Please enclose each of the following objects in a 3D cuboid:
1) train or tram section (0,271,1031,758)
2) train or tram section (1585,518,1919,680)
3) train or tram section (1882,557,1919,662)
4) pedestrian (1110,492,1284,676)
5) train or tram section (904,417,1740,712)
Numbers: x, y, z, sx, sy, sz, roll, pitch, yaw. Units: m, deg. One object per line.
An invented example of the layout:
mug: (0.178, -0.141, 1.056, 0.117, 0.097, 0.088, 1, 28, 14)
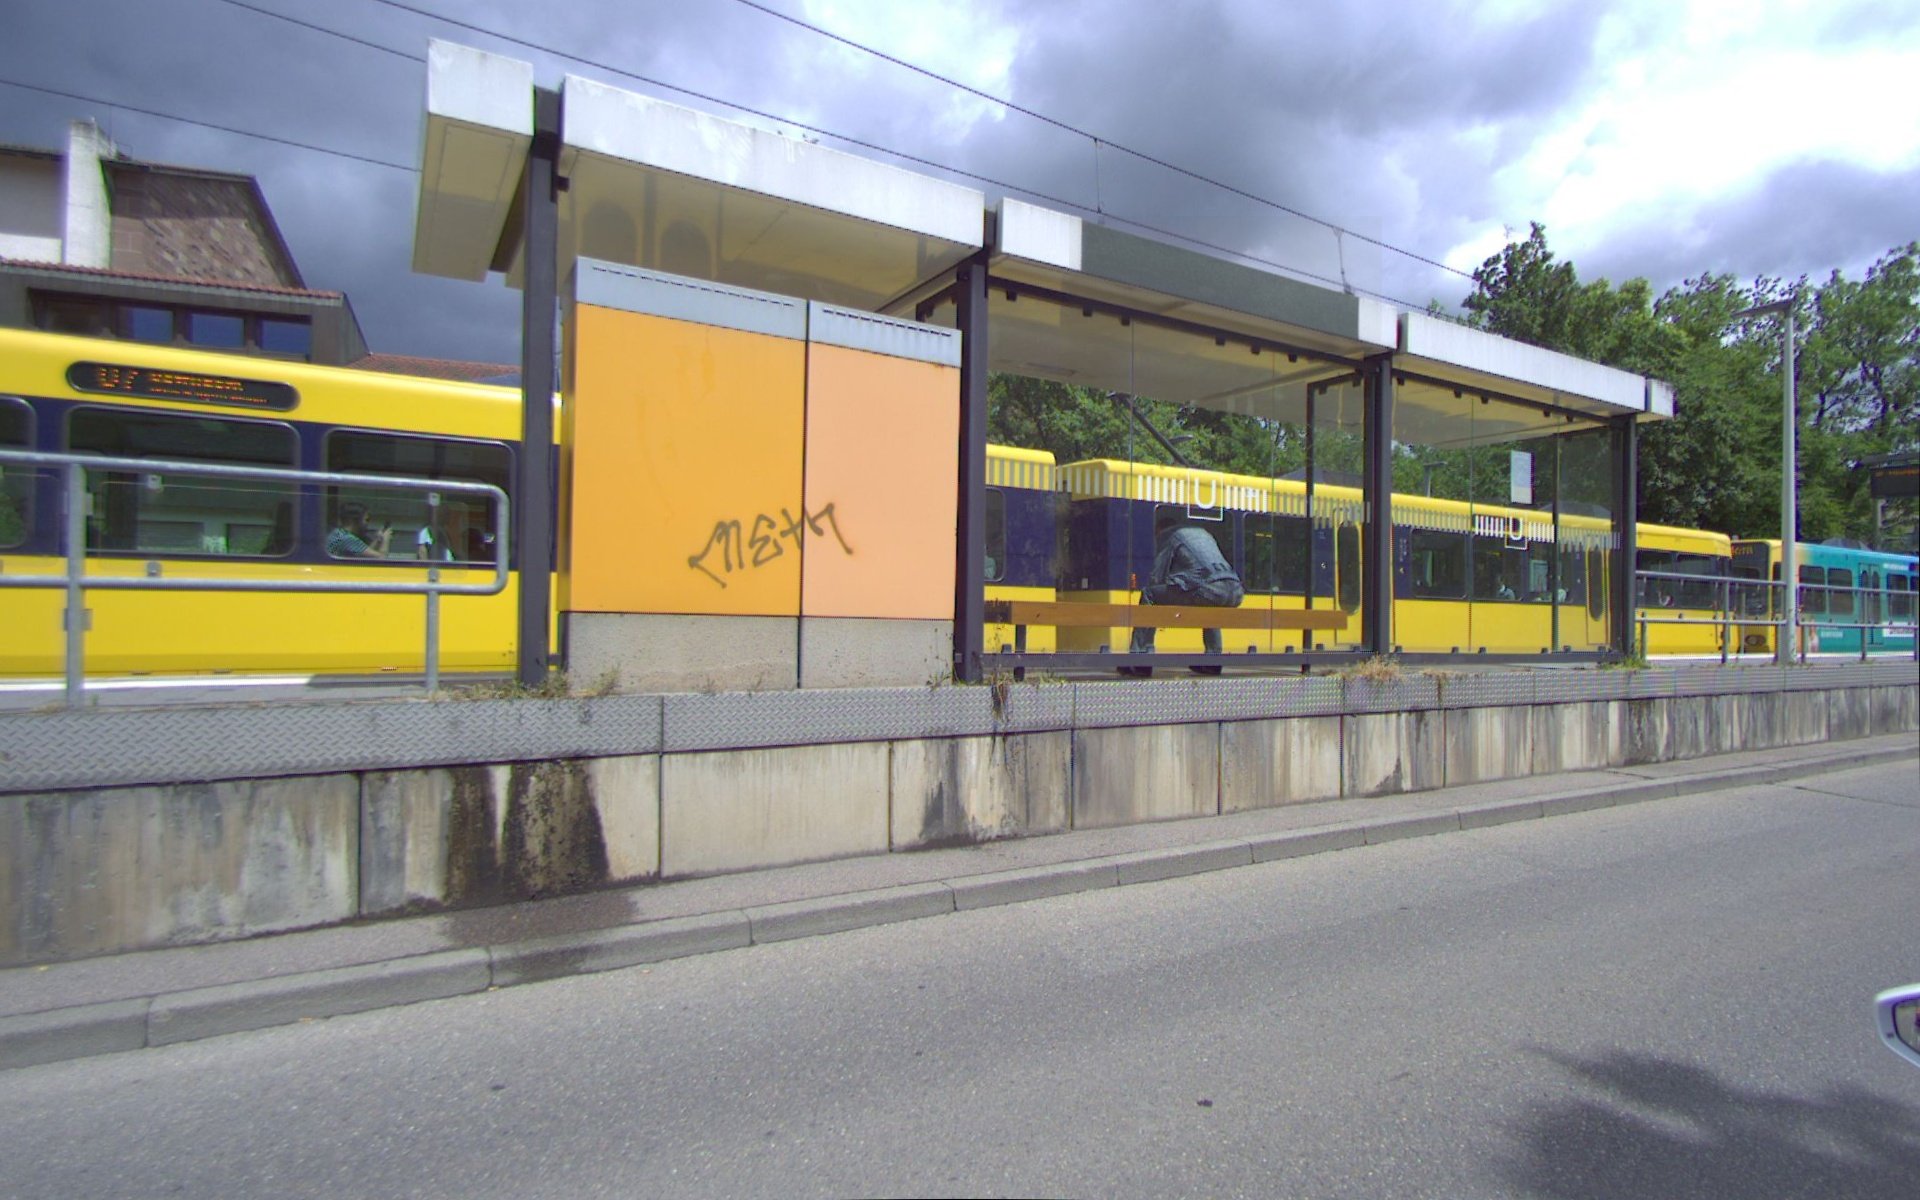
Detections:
train or tram section: (-7.923, -0.649, 8.473, 18.610, 3.511, 3.092, 1, 1, -31)
train or tram section: (24.143, 0.138, 28.012, 18.979, 3.511, 3.092, 1, 1, -31)
train or tram section: (40.363, 0.536, 37.854, 18.871, 3.511, 3.092, 1, 1, -31)
pedestrian: (1.681, -0.082, 7.167, 0.909, 1.202, 0.791, 1, -2, -32)
train or tram section: (8.023, -0.258, 18.201, 18.779, 3.511, 3.092, 1, 1, -31)
